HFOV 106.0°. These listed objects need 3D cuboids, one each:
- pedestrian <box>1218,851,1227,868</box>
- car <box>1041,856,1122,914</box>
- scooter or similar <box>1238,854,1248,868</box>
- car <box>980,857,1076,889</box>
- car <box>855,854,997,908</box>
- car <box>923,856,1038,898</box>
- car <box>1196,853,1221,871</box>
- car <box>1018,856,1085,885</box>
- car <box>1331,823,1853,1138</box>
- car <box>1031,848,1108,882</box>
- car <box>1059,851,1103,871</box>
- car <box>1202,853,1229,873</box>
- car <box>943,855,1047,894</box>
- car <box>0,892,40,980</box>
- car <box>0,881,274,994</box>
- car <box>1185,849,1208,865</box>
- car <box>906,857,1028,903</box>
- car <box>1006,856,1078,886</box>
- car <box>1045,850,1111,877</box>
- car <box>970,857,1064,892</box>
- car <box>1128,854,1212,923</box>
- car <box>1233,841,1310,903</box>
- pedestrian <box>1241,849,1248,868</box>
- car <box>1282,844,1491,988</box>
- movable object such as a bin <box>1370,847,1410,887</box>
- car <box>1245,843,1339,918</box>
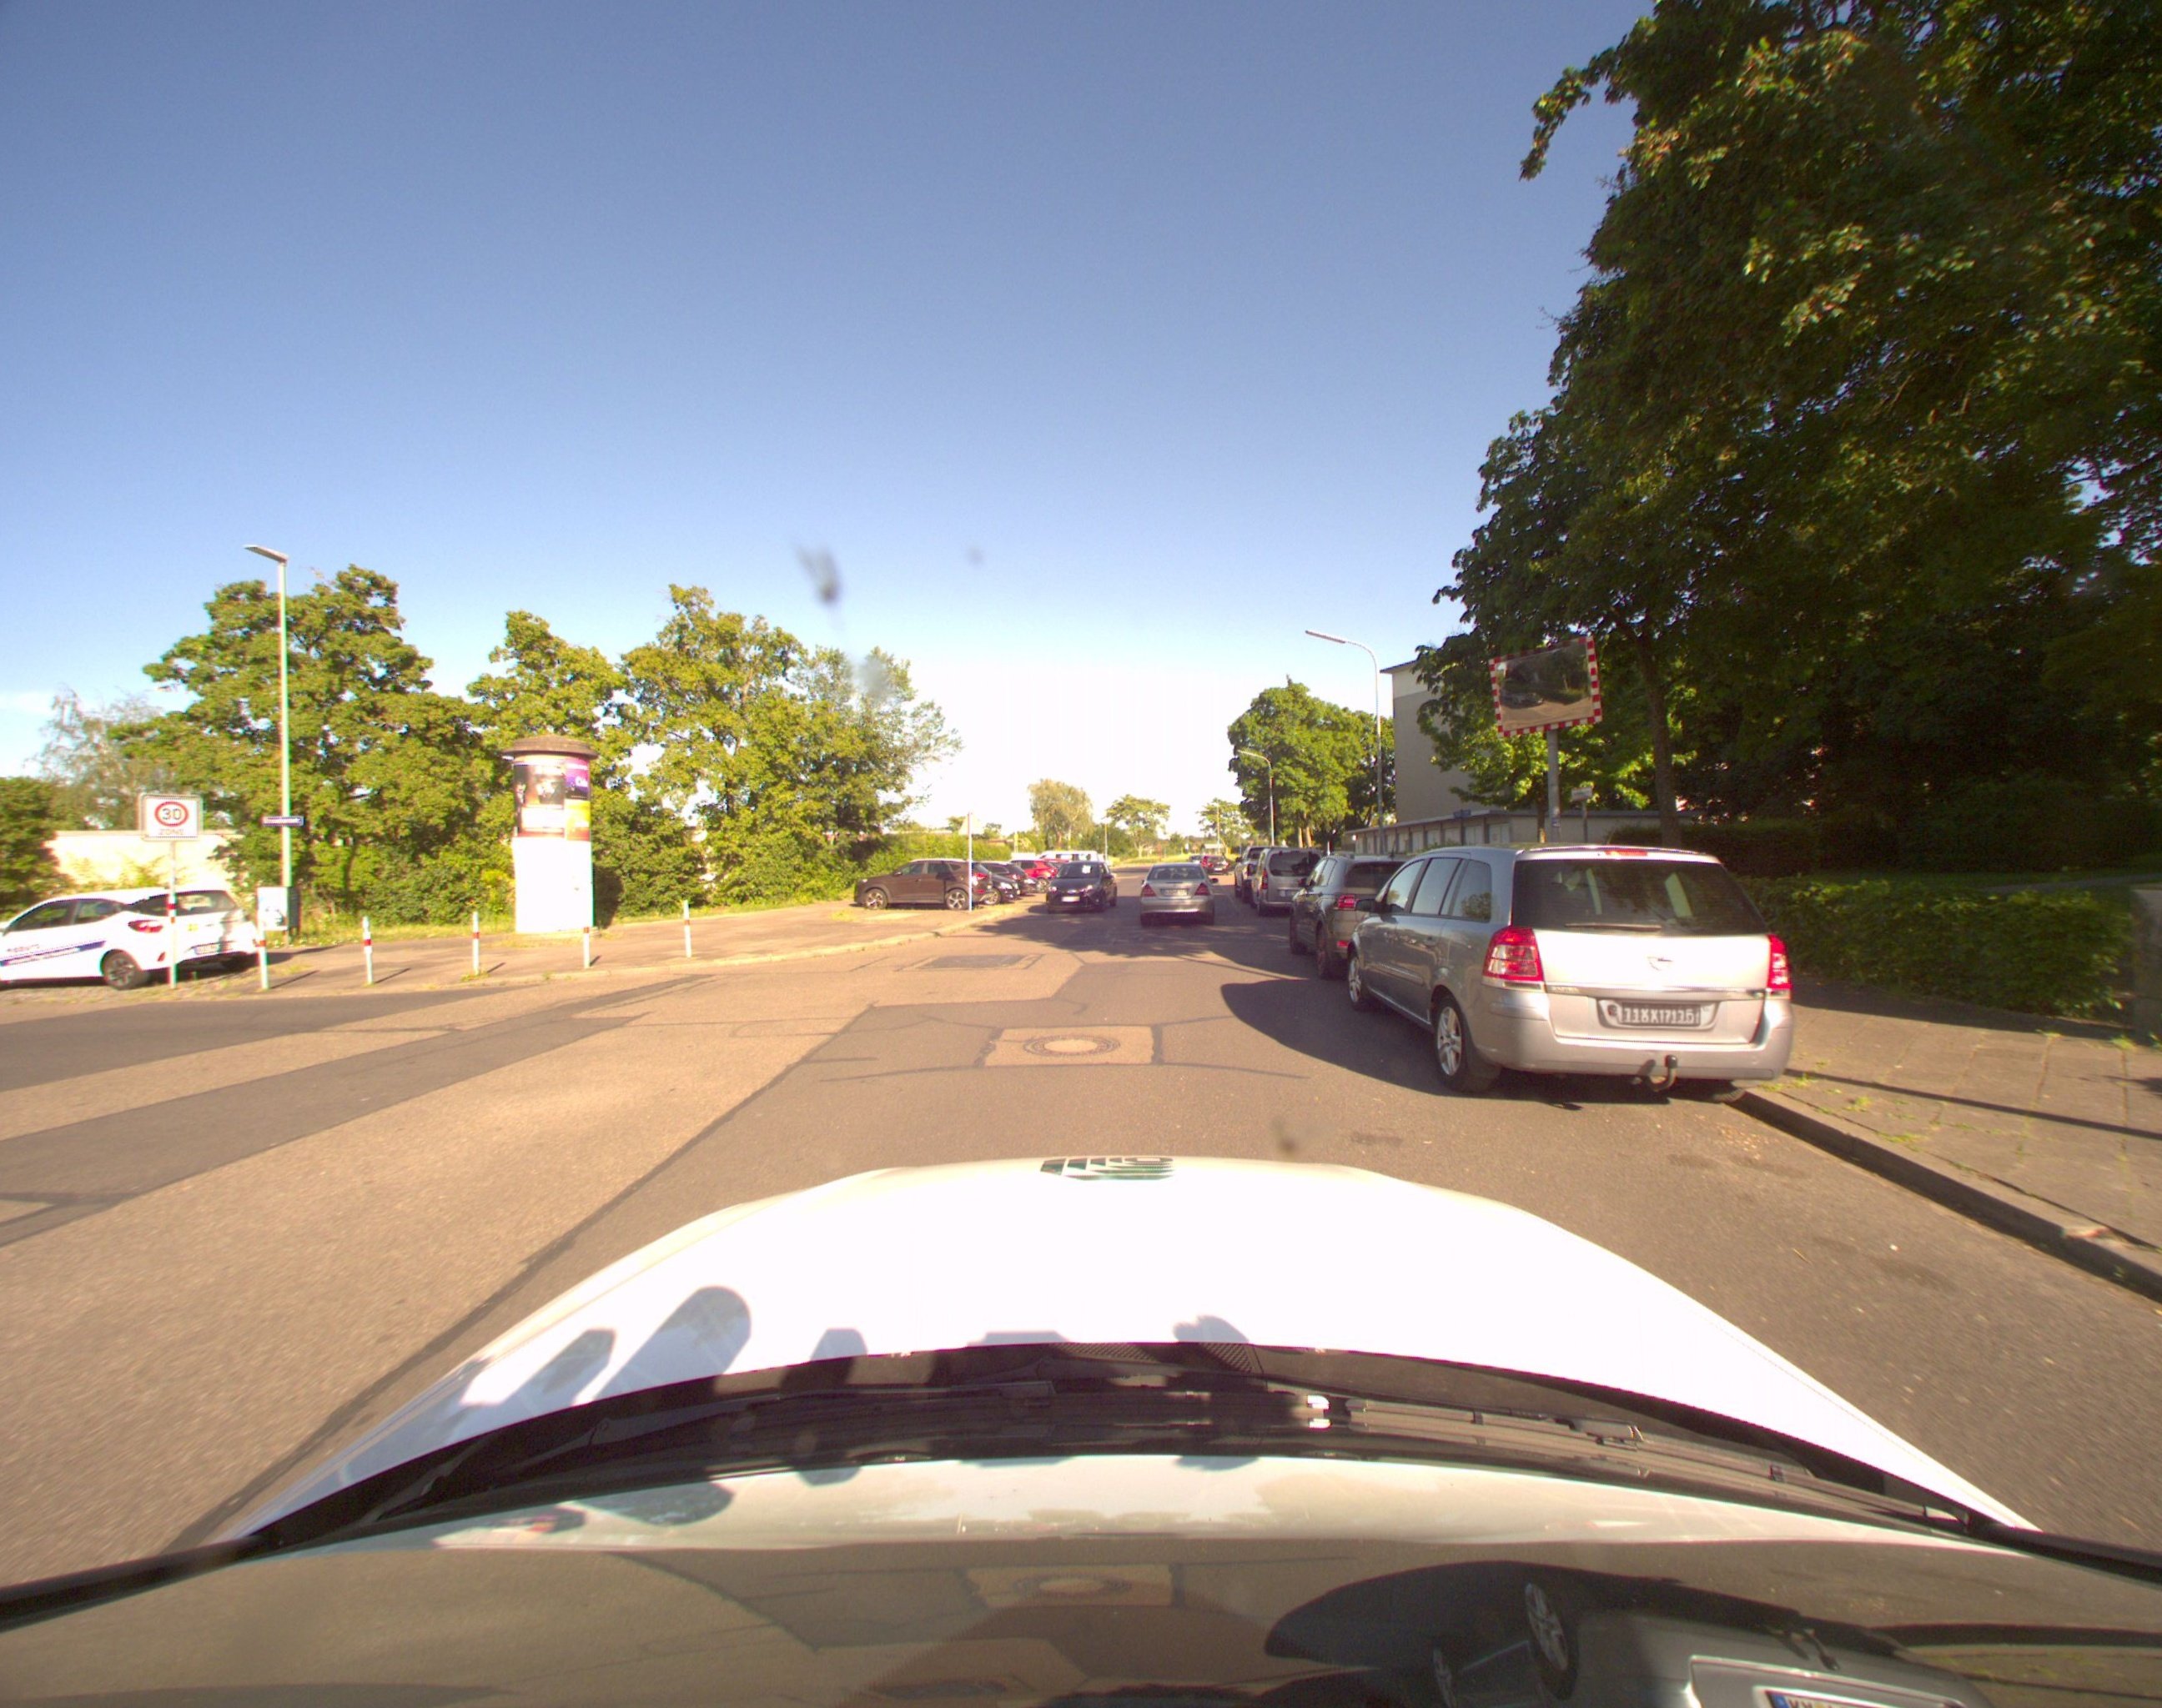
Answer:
[{"bbox_3d":[13.231,0.542,76.153,0.784,1.565,0.570,1,-1,2],"label":"pedestrian"},{"bbox_3d":[0.098,0.898,24.886,1.638,1.556,4.014,-3,-1,12],"label":"car"},{"bbox_3d":[13.708,0.601,69.016,0.620,1.227,0.906,-2,-1,3],"label":"scooter or similar"},{"bbox_3d":[-2.628,0.928,40.960,4.519,1.479,1.751,1,0,7],"label":"car"},{"bbox_3d":[-4.975,0.860,26.488,4.167,1.656,1.849,1,-1,5],"label":"car"},{"bbox_3d":[-3.832,0.869,31.563,4.072,1.512,1.815,1,-1,5],"label":"car"},{"bbox_3d":[10.700,0.683,68.728,1.570,1.446,3.789,-1,-1,1],"label":"car"},{"bbox_3d":[-1.646,0.911,46.449,3.583,1.567,1.856,1,0,7],"label":"car"},{"bbox_3d":[3.324,0.675,6.446,1.759,1.610,4.379,1,-1,6],"label":"car"},{"bbox_3d":[-0.666,0.658,49.481,4.456,1.977,2.003,1,-1,6],"label":"car"},{"bbox_3d":[0.019,0.642,73.802,3.965,1.780,1.925,0,0,-1],"label":"car"},{"bbox_3d":[10.050,0.691,61.057,1.640,1.403,3.886,-2,-1,4],"label":"car"},{"bbox_3d":[-3.540,0.841,33.957,3.999,1.512,1.909,1,-1,5],"label":"car"},{"bbox_3d":[-20.643,1.548,13.647,4.309,1.461,1.741,-3,3,5],"label":"car"},{"bbox_3d":[-15.720,1.328,13.219,3.502,1.461,1.741,-3,3,5],"label":"car"},{"bbox_3d":[11.122,0.302,78.623,1.725,1.543,3.789,-1,-1,1],"label":"car"},{"bbox_3d":[-4.056,0.919,29.368,3.967,1.532,1.834,1,-1,5],"label":"car"},{"bbox_3d":[-2.057,0.891,43.970,3.583,1.567,1.885,1,0,7],"label":"car"},{"bbox_3d":[-0.181,0.735,61.188,4.768,1.921,2.083,1,-1,3],"label":"car"},{"bbox_3d":[-2.857,0.897,37.056,3.966,1.479,1.794,1,0,7],"label":"car"},{"bbox_3d":[2.285,0.750,19.914,1.805,1.463,4.372,0,0,9],"label":"car"},{"bbox_3d":[6.195,0.519,27.088,1.897,1.840,5.284,1,1,7],"label":"car"},{"bbox_3d":[14.102,0.383,70.060,0.478,1.565,0.599,-3,-2,13],"label":"pedestrian"},{"bbox_3d":[3.928,0.695,11.192,1.795,1.594,4.031,1,0,7],"label":"car"},{"bbox_3d":[10.829,0.451,28.564,1.240,1.347,1.058,-2,-2,19],"label":"movable object such as a bin"},{"bbox_3d":[5.554,0.604,21.932,1.824,1.791,4.563,1,1,6],"label":"car"}]
